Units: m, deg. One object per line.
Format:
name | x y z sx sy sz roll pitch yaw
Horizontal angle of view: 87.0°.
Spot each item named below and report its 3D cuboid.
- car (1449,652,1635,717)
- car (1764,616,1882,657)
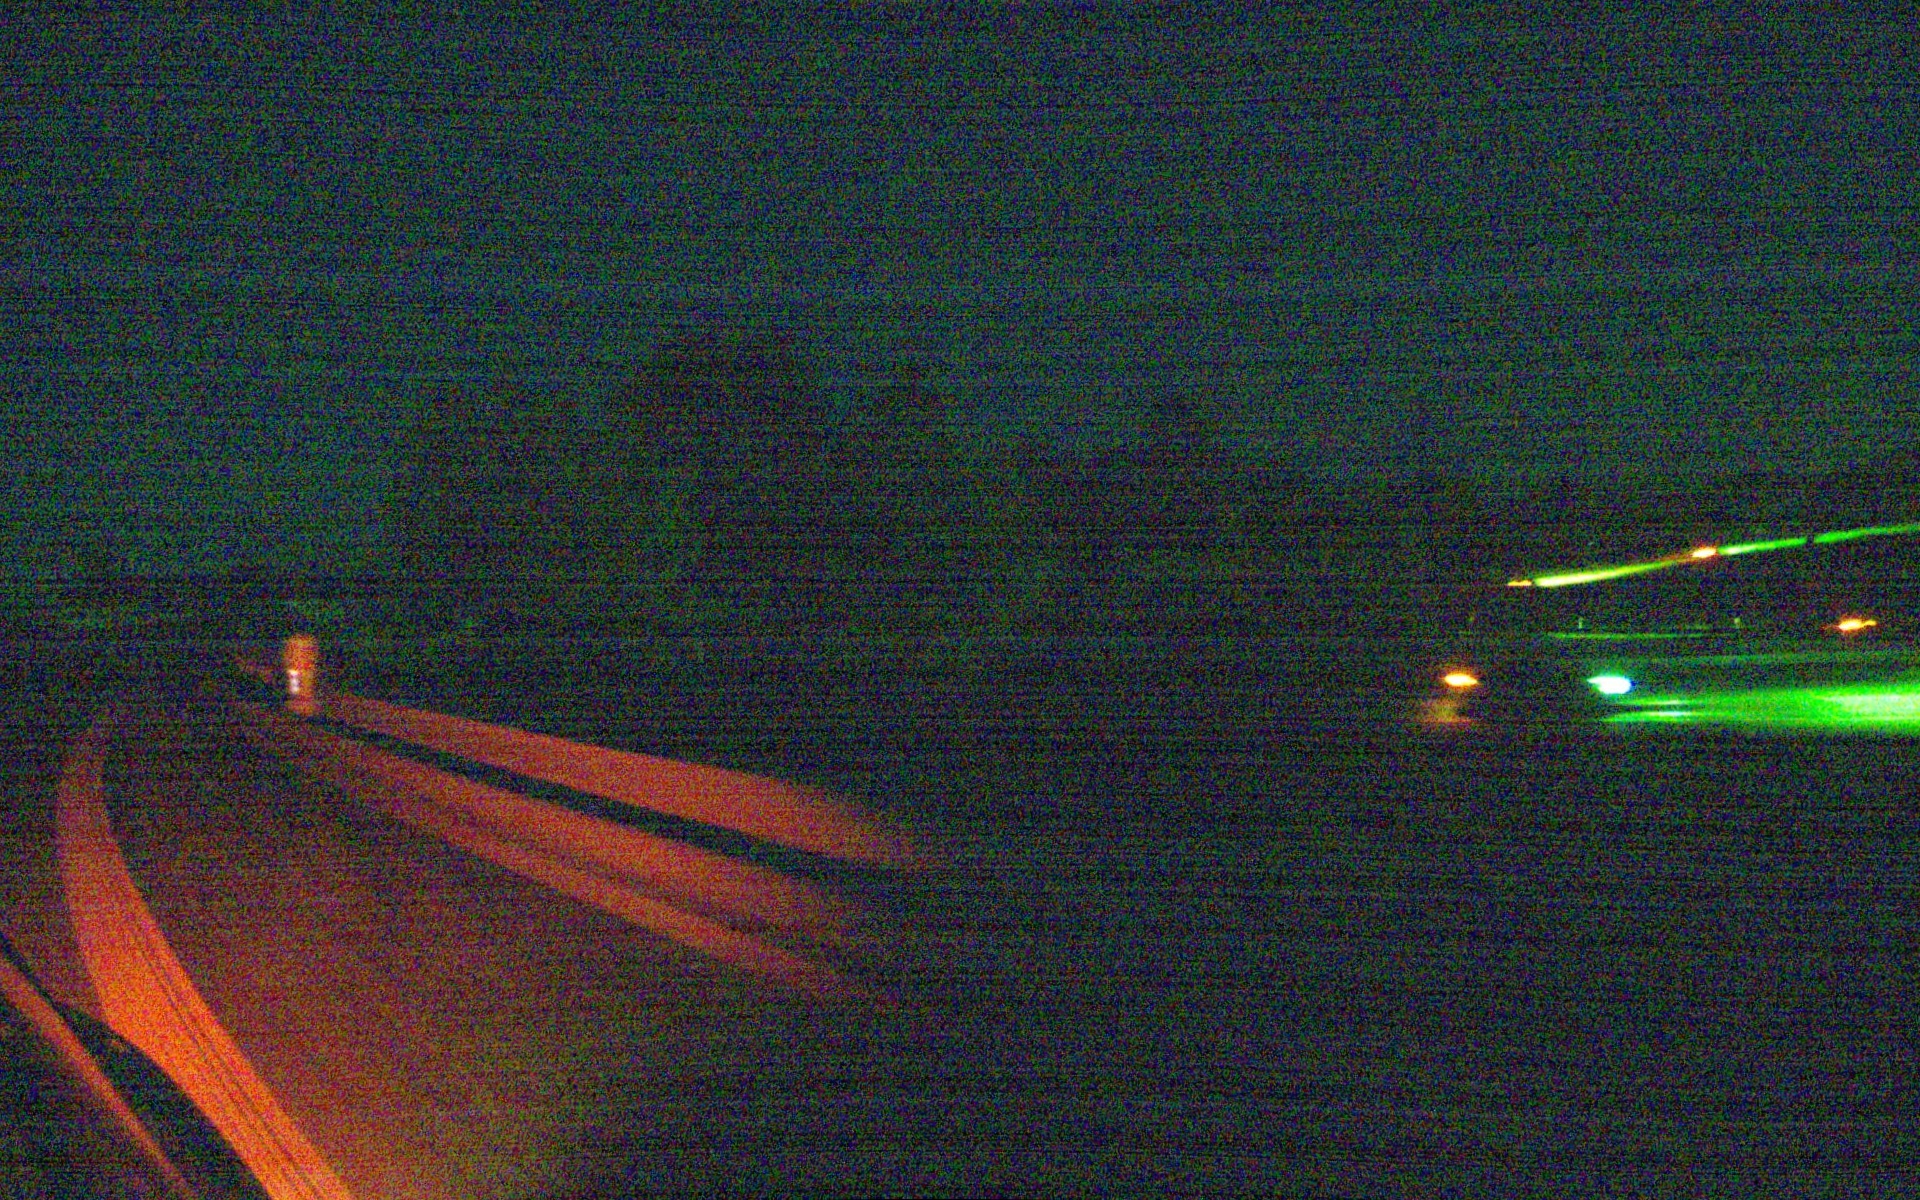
car | 17.402 2.551 30.379 4.631 1.620 1.925 -5 0 34
car | 41.610 1.765 48.912 1.847 1.798 4.007 -2 -2 -9
